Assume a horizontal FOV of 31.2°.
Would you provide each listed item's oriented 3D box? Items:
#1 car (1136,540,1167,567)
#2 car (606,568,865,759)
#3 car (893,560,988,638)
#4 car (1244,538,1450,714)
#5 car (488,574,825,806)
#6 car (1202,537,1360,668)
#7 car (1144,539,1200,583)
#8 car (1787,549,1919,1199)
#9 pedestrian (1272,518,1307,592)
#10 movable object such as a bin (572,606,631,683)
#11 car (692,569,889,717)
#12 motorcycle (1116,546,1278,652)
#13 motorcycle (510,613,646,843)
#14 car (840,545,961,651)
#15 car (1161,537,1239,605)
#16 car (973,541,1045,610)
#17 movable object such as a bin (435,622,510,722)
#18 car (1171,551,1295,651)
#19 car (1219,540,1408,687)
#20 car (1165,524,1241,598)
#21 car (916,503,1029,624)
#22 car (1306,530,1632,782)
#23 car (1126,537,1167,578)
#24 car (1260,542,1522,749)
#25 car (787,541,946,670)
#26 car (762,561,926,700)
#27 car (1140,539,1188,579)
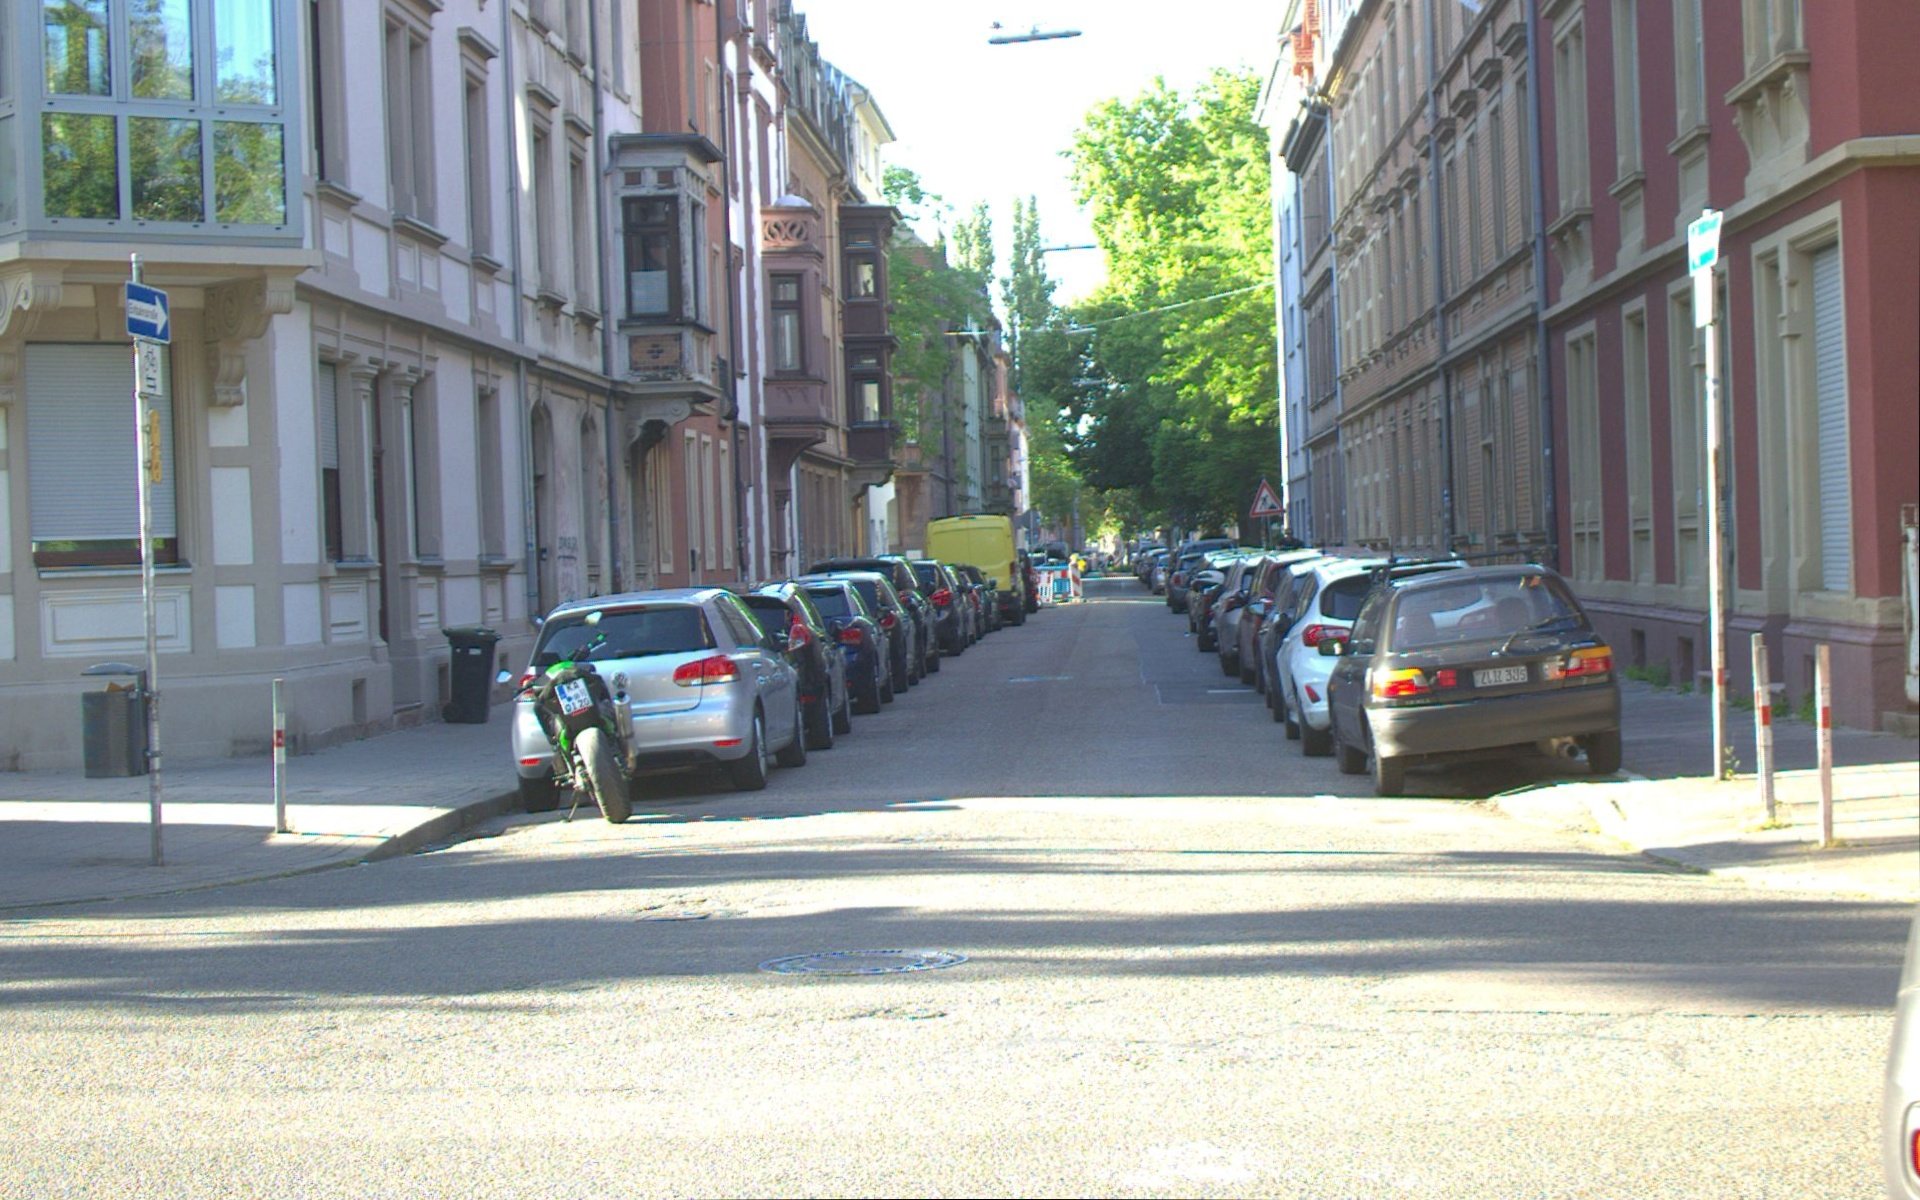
[{"bbox_3d":[13.107,-3.190,235.063,1.994,1.722,4.000,-3,1,2],"label":"car"},{"bbox_3d":[-1.910,0.508,30.278,1.781,1.478,3.742,-2,1,3],"label":"car"},{"bbox_3d":[-0.363,-0.041,67.227,1.618,1.322,3.612,-5,1,2],"label":"car"},{"bbox_3d":[3.648,0.200,32.929,1.677,1.498,4.069,-2,1,3],"label":"car"},{"bbox_3d":[-2.154,0.603,25.460,1.781,1.478,3.932,-2,1,5],"label":"car"},{"bbox_3d":[3.984,-0.009,43.235,1.762,1.479,4.401,-2,1,3],"label":"car"},{"bbox_3d":[7.747,-1.444,125.794,1.724,1.517,4.000,-3,1,0],"label":"car"},{"bbox_3d":[3.217,0.585,6.667,1.638,1.478,3.524,-1,1,41],"label":"car"},{"bbox_3d":[7.443,-1.023,77.710,0.653,1.625,0.880,-4,0,6],"label":"pedestrian"},{"bbox_3d":[-4.486,0.552,43.043,0.612,0.917,0.734,-2,1,2],"label":"movable object such as a bin"},{"bbox_3d":[-1.745,0.420,36.542,1.781,1.398,3.742,-2,1,1],"label":"car"},{"bbox_3d":[3.497,-0.029,50.693,2.218,1.531,0.890,0,1,-23],"label":"motorcycle"},{"bbox_3d":[-2.443,0.792,22.188,0.676,1.329,2.001,-5,1,-4],"label":"motorcycle"},{"bbox_3d":[-0.942,-0.063,56.483,1.781,1.600,4.069,-2,1,1],"label":"car"},{"bbox_3d":[6.020,-0.757,86.298,1.754,1.448,4.287,-6,1,4],"label":"car"},{"bbox_3d":[1.304,-0.670,93.241,1.818,1.760,4.336,-2,1,0],"label":"car"},{"bbox_3d":[-4.768,0.698,33.645,0.621,0.952,0.511,-1,1,3],"label":"movable object such as a bin"},{"bbox_3d":[4.212,-0.012,53.604,1.777,1.392,4.317,-2,1,3],"label":"car"},{"bbox_3d":[3.882,0.111,38.295,1.659,1.474,4.025,-2,1,1],"label":"car"},{"bbox_3d":[6.453,-1.069,91.715,1.754,1.780,4.723,-5,1,3],"label":"car"},{"bbox_3d":[0.334,-0.850,78.593,2.175,2.499,5.878,-5,1,2],"label":"car"},{"bbox_3d":[3.293,0.309,22.840,1.668,1.478,3.706,-2,1,2],"label":"car"},{"bbox_3d":[10.690,-2.449,197.476,2.161,2.248,4.525,-2,0,2],"label":"car"},{"bbox_3d":[3.356,0.304,27.363,1.705,1.457,3.970,-2,1,3],"label":"car"},{"bbox_3d":[-1.223,0.038,46.812,1.761,1.612,4.189,-2,1,3],"label":"car"},{"bbox_3d":[-1.360,0.333,41.633,1.643,1.450,3.839,-5,1,2],"label":"car"},{"bbox_3d":[8.716,-1.729,147.054,1.894,1.620,4.000,-2,0,2],"label":"car"}]
